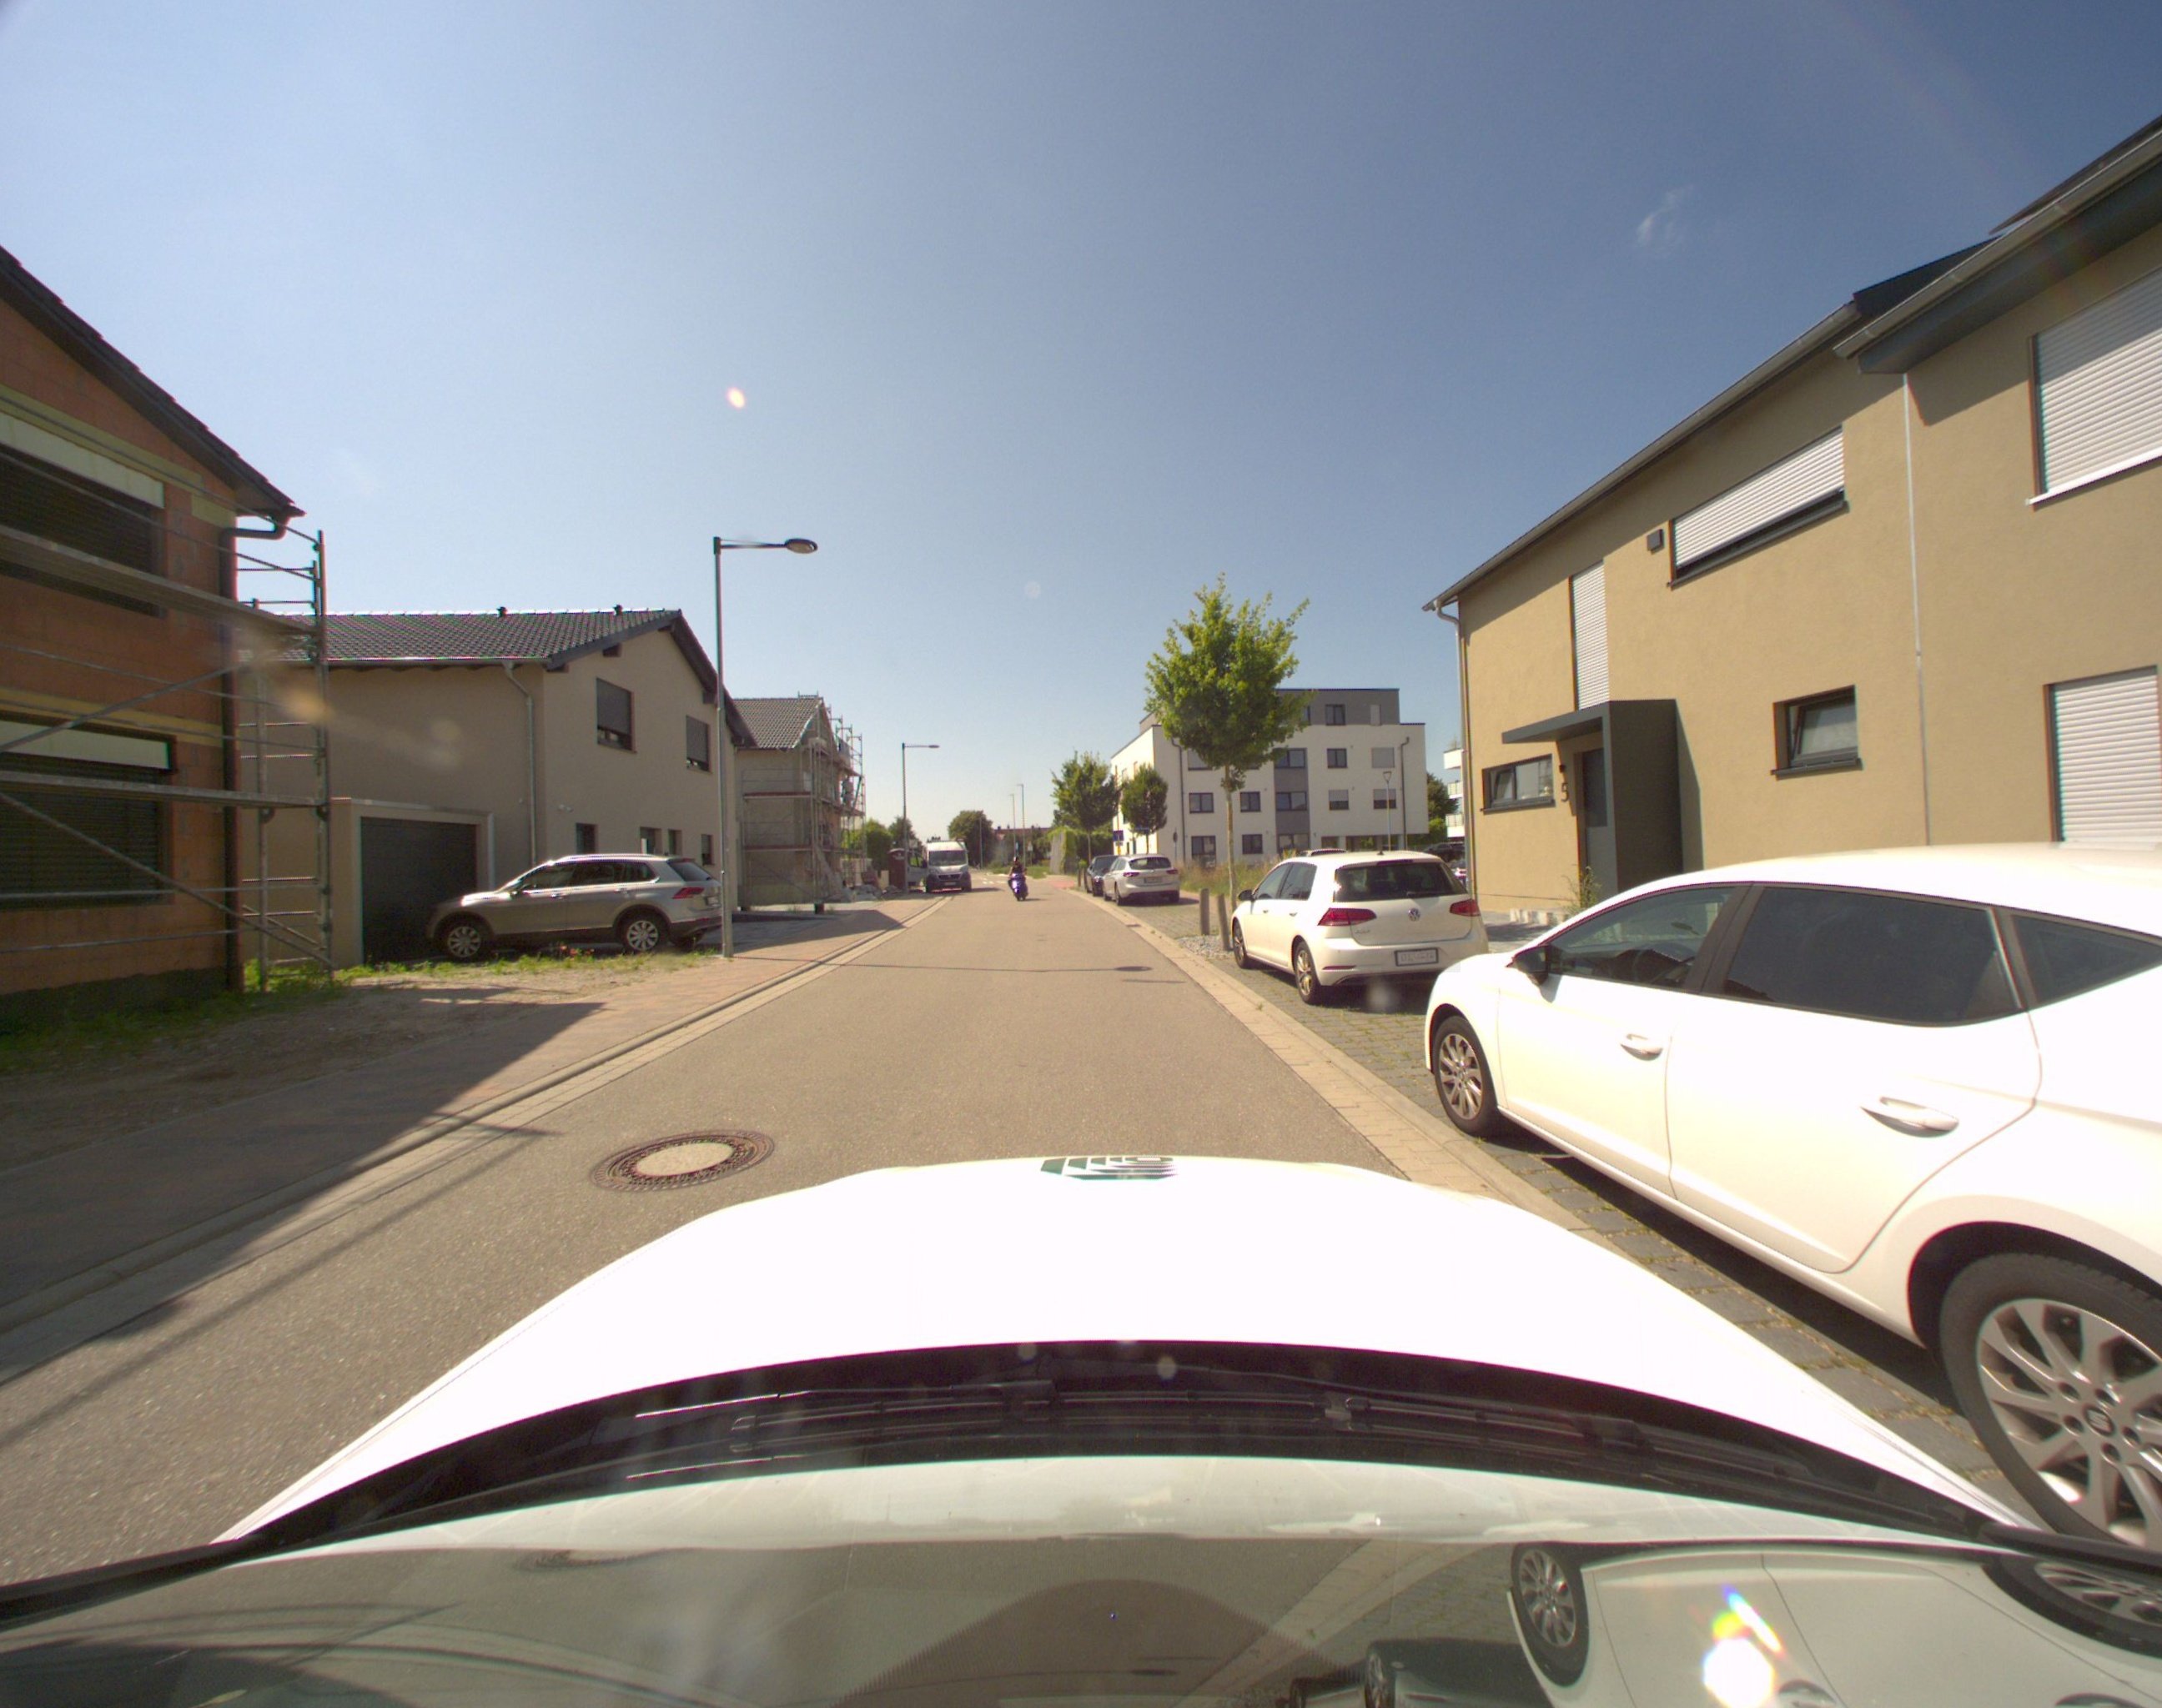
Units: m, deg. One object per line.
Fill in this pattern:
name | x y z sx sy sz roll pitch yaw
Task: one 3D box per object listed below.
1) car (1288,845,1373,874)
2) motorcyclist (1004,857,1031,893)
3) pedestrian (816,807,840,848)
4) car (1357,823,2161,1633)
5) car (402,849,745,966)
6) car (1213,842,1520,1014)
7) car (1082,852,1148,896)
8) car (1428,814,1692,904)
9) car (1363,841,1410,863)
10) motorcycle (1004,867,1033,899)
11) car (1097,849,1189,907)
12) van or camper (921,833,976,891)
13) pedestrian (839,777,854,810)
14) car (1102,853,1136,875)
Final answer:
car | 14.057 0.308 45.918 4.155 1.435 1.877 -2 -1 -8
motorcyclist | -2.275 0.730 29.257 0.922 1.222 0.802 -2 0 -4
pedestrian | -10.831 -1.135 34.846 0.571 1.680 0.753 -5 -3 42
car | 2.840 0.677 3.209 1.809 1.456 4.562 -3 0 -1
car | -8.322 0.821 13.768 4.419 1.612 1.996 -2 0 -6
car | 2.933 0.642 9.542 1.775 1.426 4.509 -3 0 -3
car | 1.213 0.701 31.503 1.915 1.469 5.132 -3 0 -4
car | 10.534 0.117 18.125 4.738 1.644 1.996 -3 -1 -5
car | 23.013 -0.101 61.490 1.874 1.503 3.670 -2 -1 -7
motorcycle | -2.273 1.033 29.585 0.954 1.035 2.432 -2 0 -4
car | 1.797 0.659 25.473 1.916 1.511 5.284 -3 0 -6
van or camper | -6.582 0.414 39.808 2.274 2.553 6.340 -2 -1 -12
pedestrian | -11.595 -2.982 40.242 0.561 1.500 0.746 -2 -2 -9
car | 2.649 0.680 58.158 1.677 1.469 4.104 -1 0 -8
